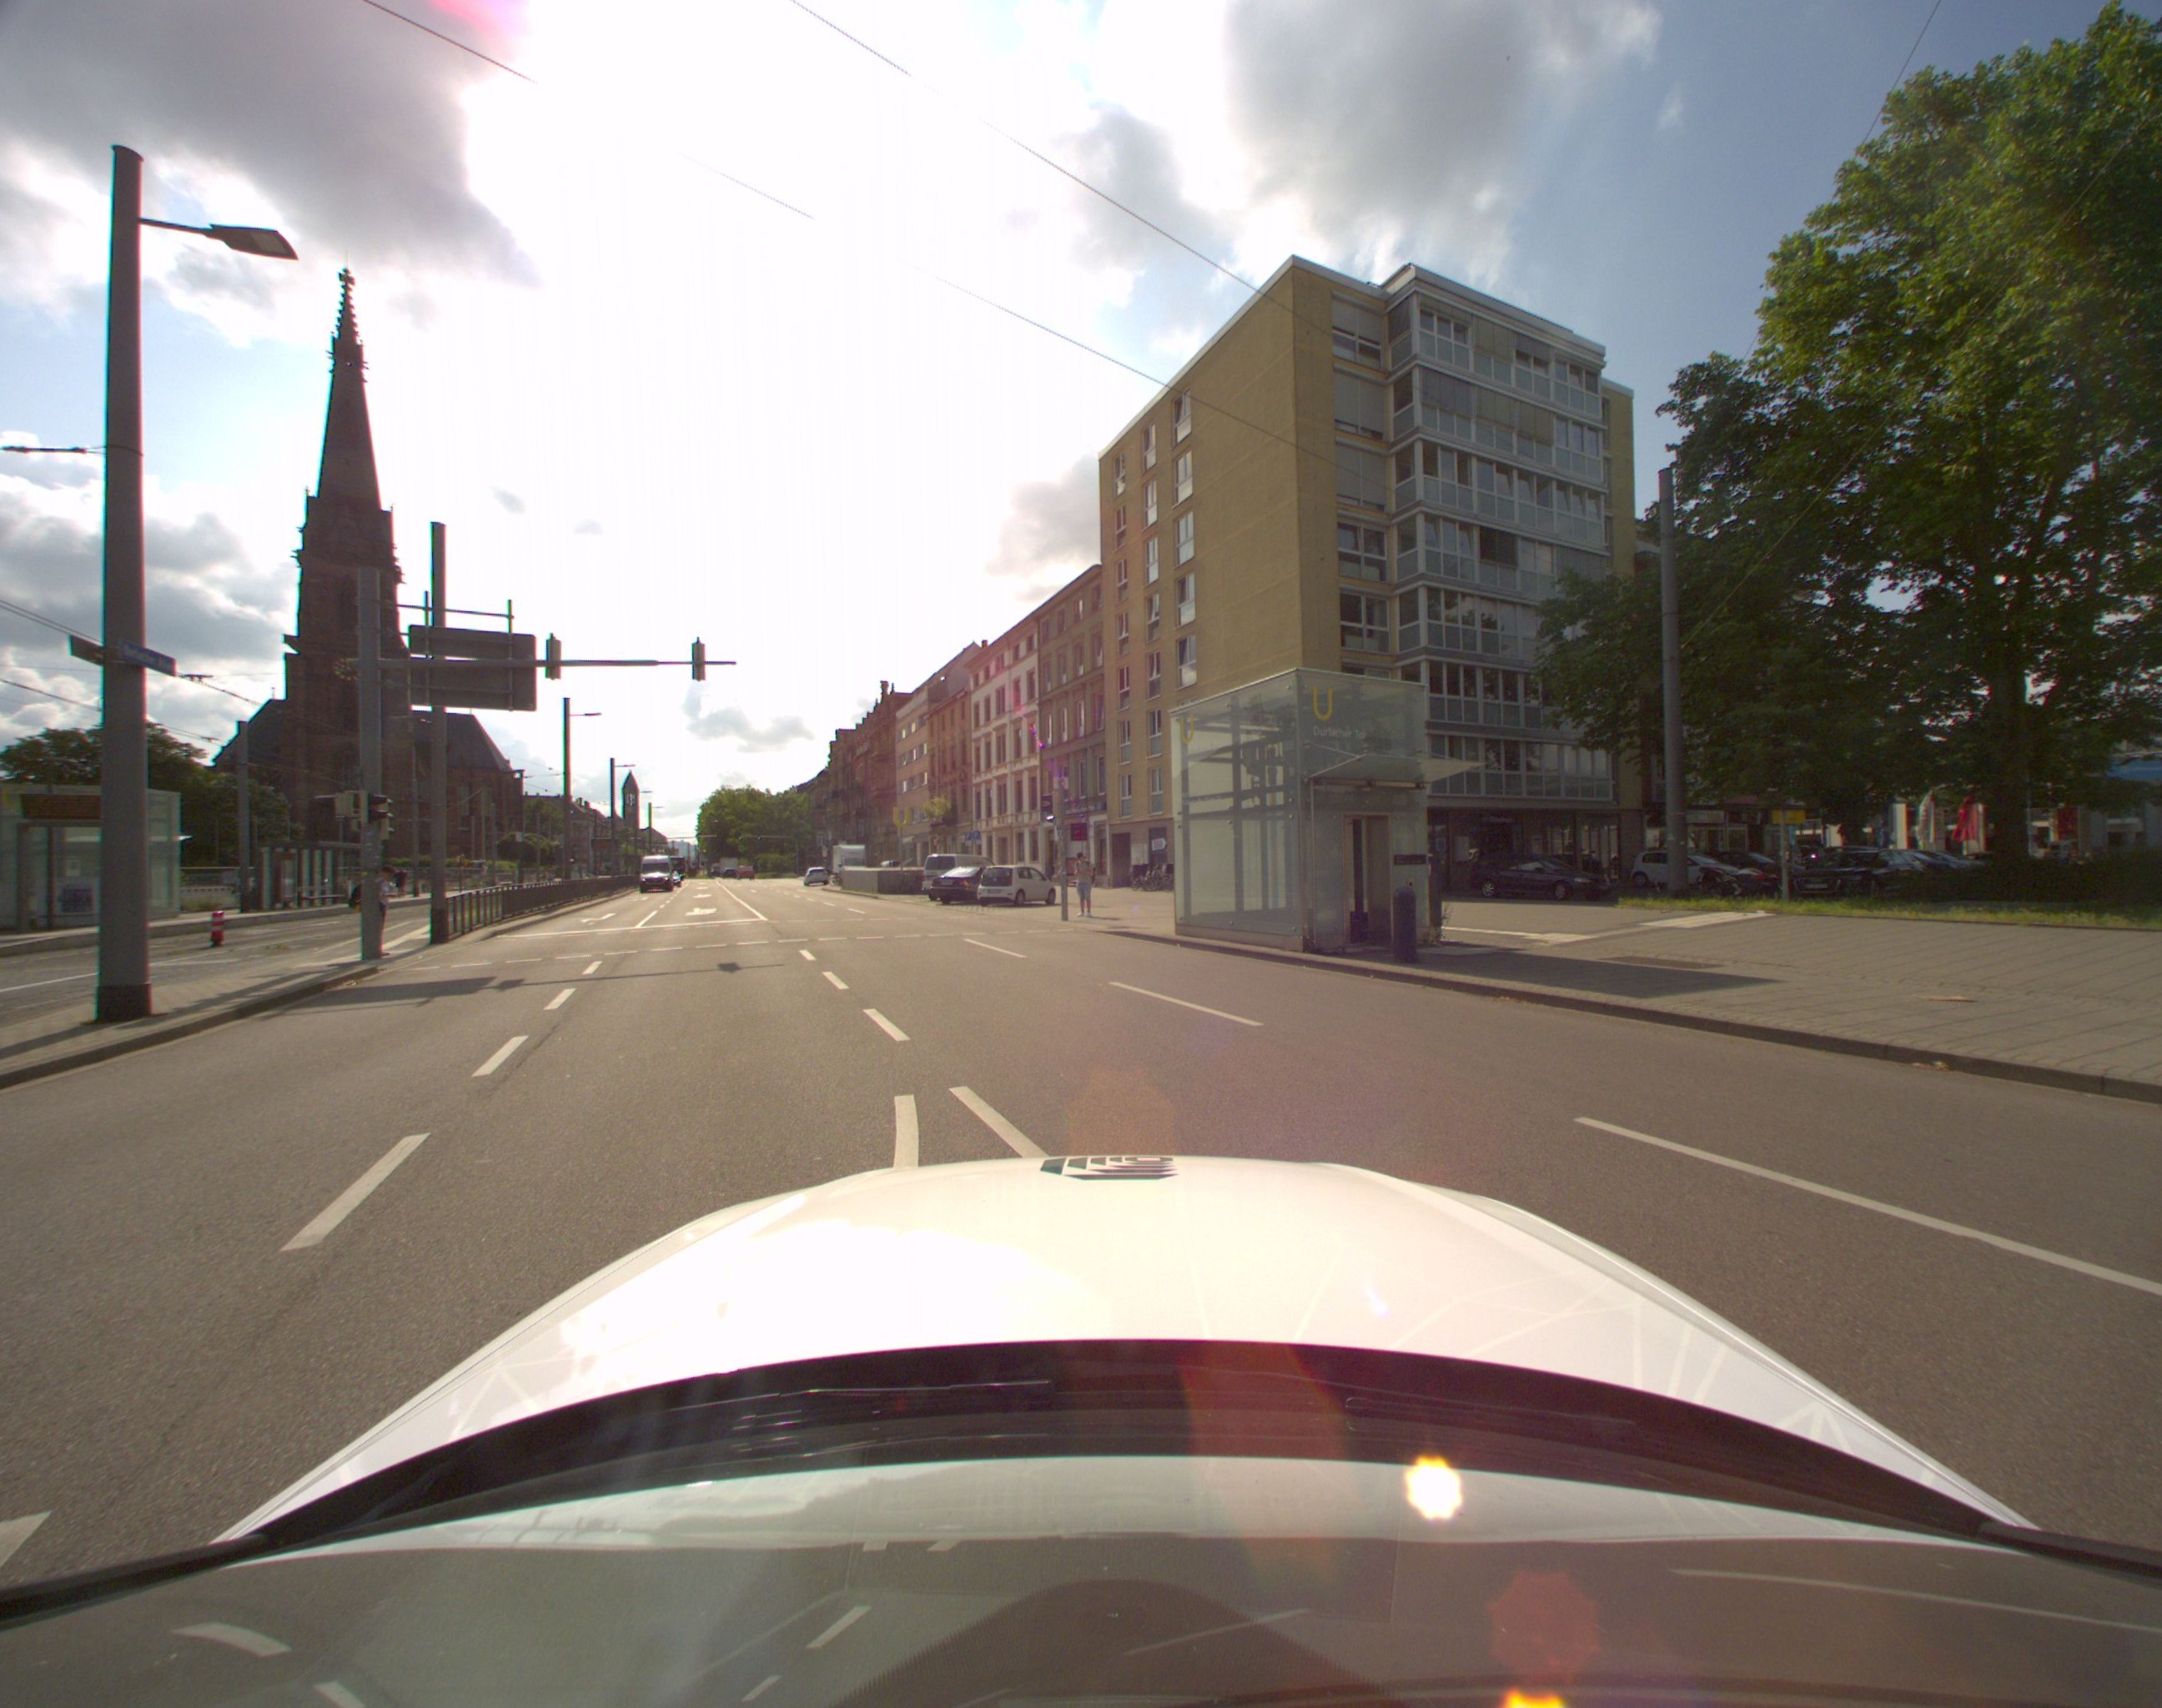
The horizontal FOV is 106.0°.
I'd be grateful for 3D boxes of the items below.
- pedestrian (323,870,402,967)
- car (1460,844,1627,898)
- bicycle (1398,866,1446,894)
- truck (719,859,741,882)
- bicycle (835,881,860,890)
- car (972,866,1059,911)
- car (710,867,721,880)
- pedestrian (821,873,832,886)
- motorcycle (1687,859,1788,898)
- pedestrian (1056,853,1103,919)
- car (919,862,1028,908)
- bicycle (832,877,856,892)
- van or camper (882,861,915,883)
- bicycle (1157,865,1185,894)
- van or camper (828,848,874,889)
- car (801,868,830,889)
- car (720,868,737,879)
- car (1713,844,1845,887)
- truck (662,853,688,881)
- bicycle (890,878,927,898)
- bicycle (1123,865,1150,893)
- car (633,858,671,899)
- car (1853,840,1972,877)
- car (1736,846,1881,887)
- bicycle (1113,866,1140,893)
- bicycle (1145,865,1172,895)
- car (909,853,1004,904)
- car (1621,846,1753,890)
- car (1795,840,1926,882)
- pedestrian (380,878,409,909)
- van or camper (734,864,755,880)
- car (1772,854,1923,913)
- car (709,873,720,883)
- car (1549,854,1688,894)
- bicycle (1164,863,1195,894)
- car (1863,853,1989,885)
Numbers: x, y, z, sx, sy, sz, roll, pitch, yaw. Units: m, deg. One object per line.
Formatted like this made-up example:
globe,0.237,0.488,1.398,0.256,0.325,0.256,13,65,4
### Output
pedestrian,-13.294,1.163,15.100,0.847,1.673,0.788,-3,1,-27
car,14.989,0.556,26.651,2.004,1.585,4.353,0,-1,-26
bicycle,12.852,0.969,30.670,1.786,1.020,0.675,-1,-2,-29
truck,-57.927,2.793,134.315,3.185,3.286,7.236,-1,-3,-24
bicycle,-16.895,2.252,58.912,1.749,0.586,0.642,-2,1,25
car,-2.346,1.222,30.003,1.698,1.440,3.532,-1,0,24
car,-70.899,3.820,157.919,1.779,2.235,3.967,-2,-2,-25
pedestrian,-26.639,2.709,85.118,0.811,1.316,0.749,0,0,26
motorcycle,16.699,0.628,20.777,1.872,0.903,0.608,-3,-1,21
pedestrian,-0.039,0.872,22.418,0.776,1.760,1.001,-4,-3,40
car,-4.119,1.185,32.265,1.868,1.468,5.093,-2,1,23
bicycle,-18.328,2.338,63.092,1.772,1.085,0.368,-2,2,-37
van or camper,-18.387,1.770,81.943,2.004,1.904,5.254,-5,3,-25
bicycle,3.942,1.106,35.789,0.488,1.201,1.634,-3,2,-21
van or camper,-20.148,1.162,71.123,2.725,3.330,7.580,-3,1,-24
car,-21.781,1.981,66.702,1.799,1.437,4.309,-6,2,-23
car,-50.686,2.782,117.200,2.004,1.508,3.965,-1,-1,-27
car,27.589,0.472,32.309,1.699,1.530,3.543,0,-3,-26
truck,-56.103,1.805,112.461,2.479,3.648,7.375,-1,-1,-31
bicycle,-8.839,1.737,41.805,1.784,1.004,0.507,0,0,-32
bicycle,2.592,1.172,38.396,0.488,1.201,1.632,-3,2,-25
car,-30.416,1.675,57.910,2.004,2.621,5.533,-4,2,-25
car,39.940,0.240,39.231,1.667,1.594,3.592,-1,-3,-22
car,29.645,0.547,33.306,1.875,1.464,3.963,0,-3,-27
bicycle,2.132,1.174,38.140,0.488,1.201,1.632,-3,2,-25
bicycle,3.377,1.122,35.744,0.488,1.201,1.634,-3,2,-21
car,-5.444,1.028,36.362,2.055,2.085,4.924,-2,0,20
car,23.531,0.571,31.764,2.004,1.530,3.543,0,-3,-26
car,36.130,0.353,37.846,1.823,1.732,3.963,0,-3,-28
pedestrian,-41.768,2.396,49.583,1.000,1.799,1.040,-1,3,-20
van or camper,-44.682,2.461,108.090,2.021,1.915,4.479,0,-3,-29
car,22.334,0.802,23.726,4.005,1.420,1.783,-3,2,-24
car,-66.016,4.294,146.623,1.779,1.662,3.967,-2,-2,-25
car,19.586,0.770,29.857,1.589,1.327,3.965,0,-3,-26
bicycle,4.111,1.014,33.987,0.549,1.201,1.634,-3,2,-21
car,41.759,0.783,40.372,1.649,1.380,3.970,-1,-3,-22
